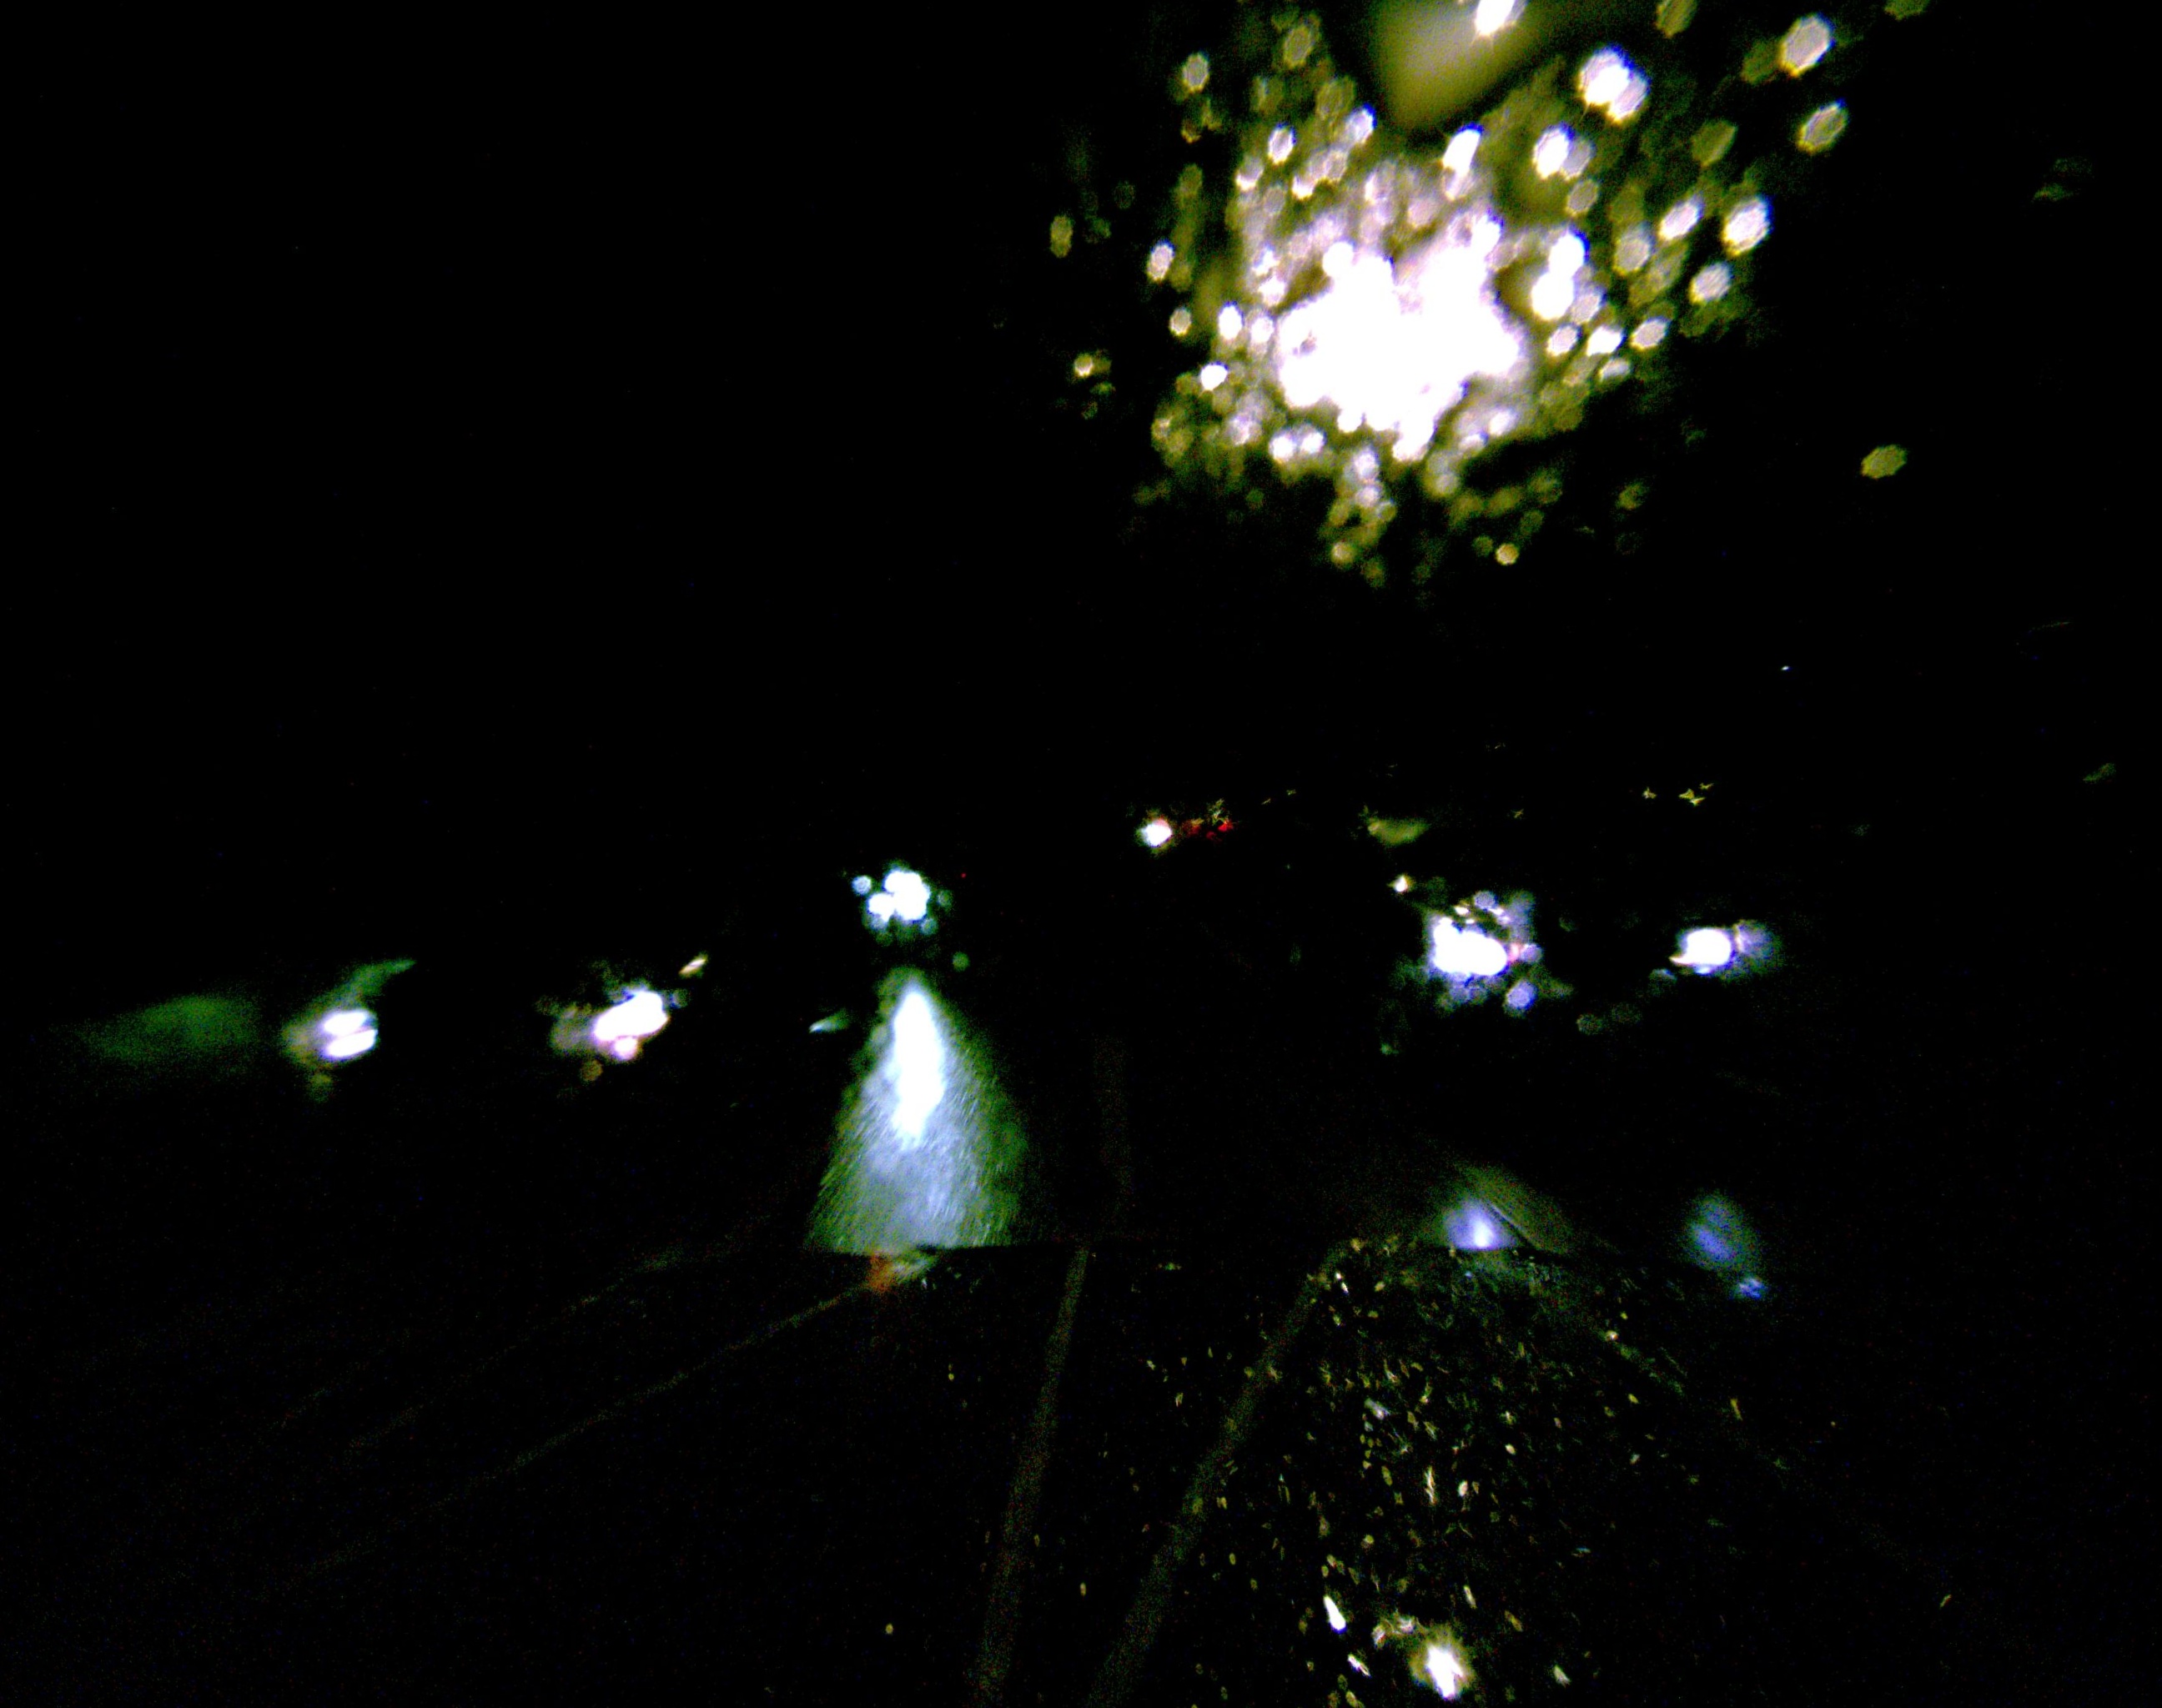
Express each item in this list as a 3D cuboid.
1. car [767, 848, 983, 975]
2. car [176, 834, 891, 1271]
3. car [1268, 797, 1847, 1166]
[{"bbox_3d":[-3.060,0.755,12.516,1.998,1.544,4.693,-3,1,3],"label":"car"},{"bbox_3d":[-2.842,0.809,5.322,1.794,1.802,4.198,-3,1,1],"label":"car"},{"bbox_3d":[2.987,0.620,6.150,1.998,1.833,4.524,-3,1,3],"label":"car"}]
